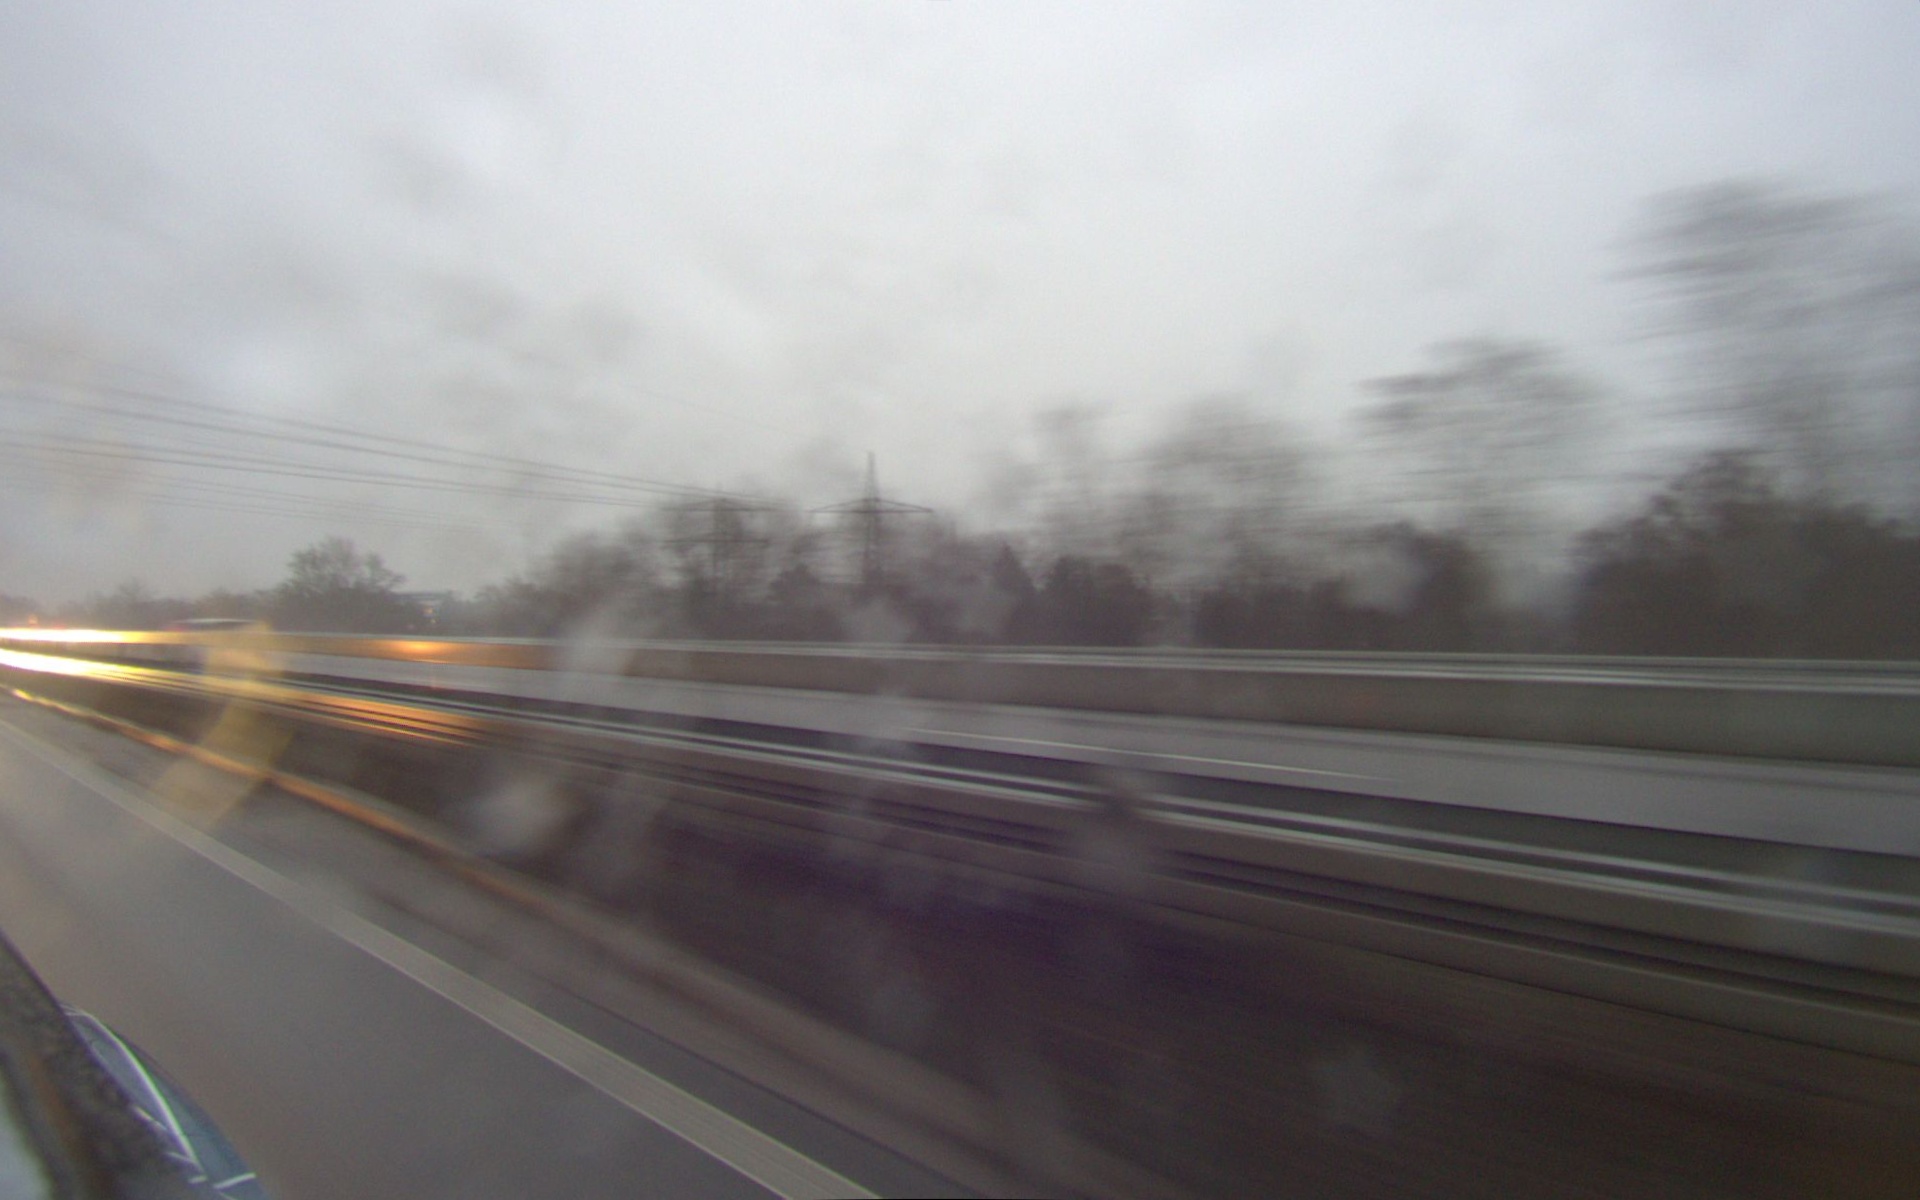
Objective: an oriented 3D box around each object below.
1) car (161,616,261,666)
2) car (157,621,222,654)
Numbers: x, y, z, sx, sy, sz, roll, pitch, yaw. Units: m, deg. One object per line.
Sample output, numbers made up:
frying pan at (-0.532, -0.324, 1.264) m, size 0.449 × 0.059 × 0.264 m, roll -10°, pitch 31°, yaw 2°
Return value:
car at (-21.312, 1.132, 28.755) m, size 3.716 × 1.349 × 1.523 m, roll -1°, pitch -2°, yaw 41°
car at (-33.466, 1.602, 43.929) m, size 3.716 × 1.349 × 1.523 m, roll -1°, pitch -2°, yaw 41°
